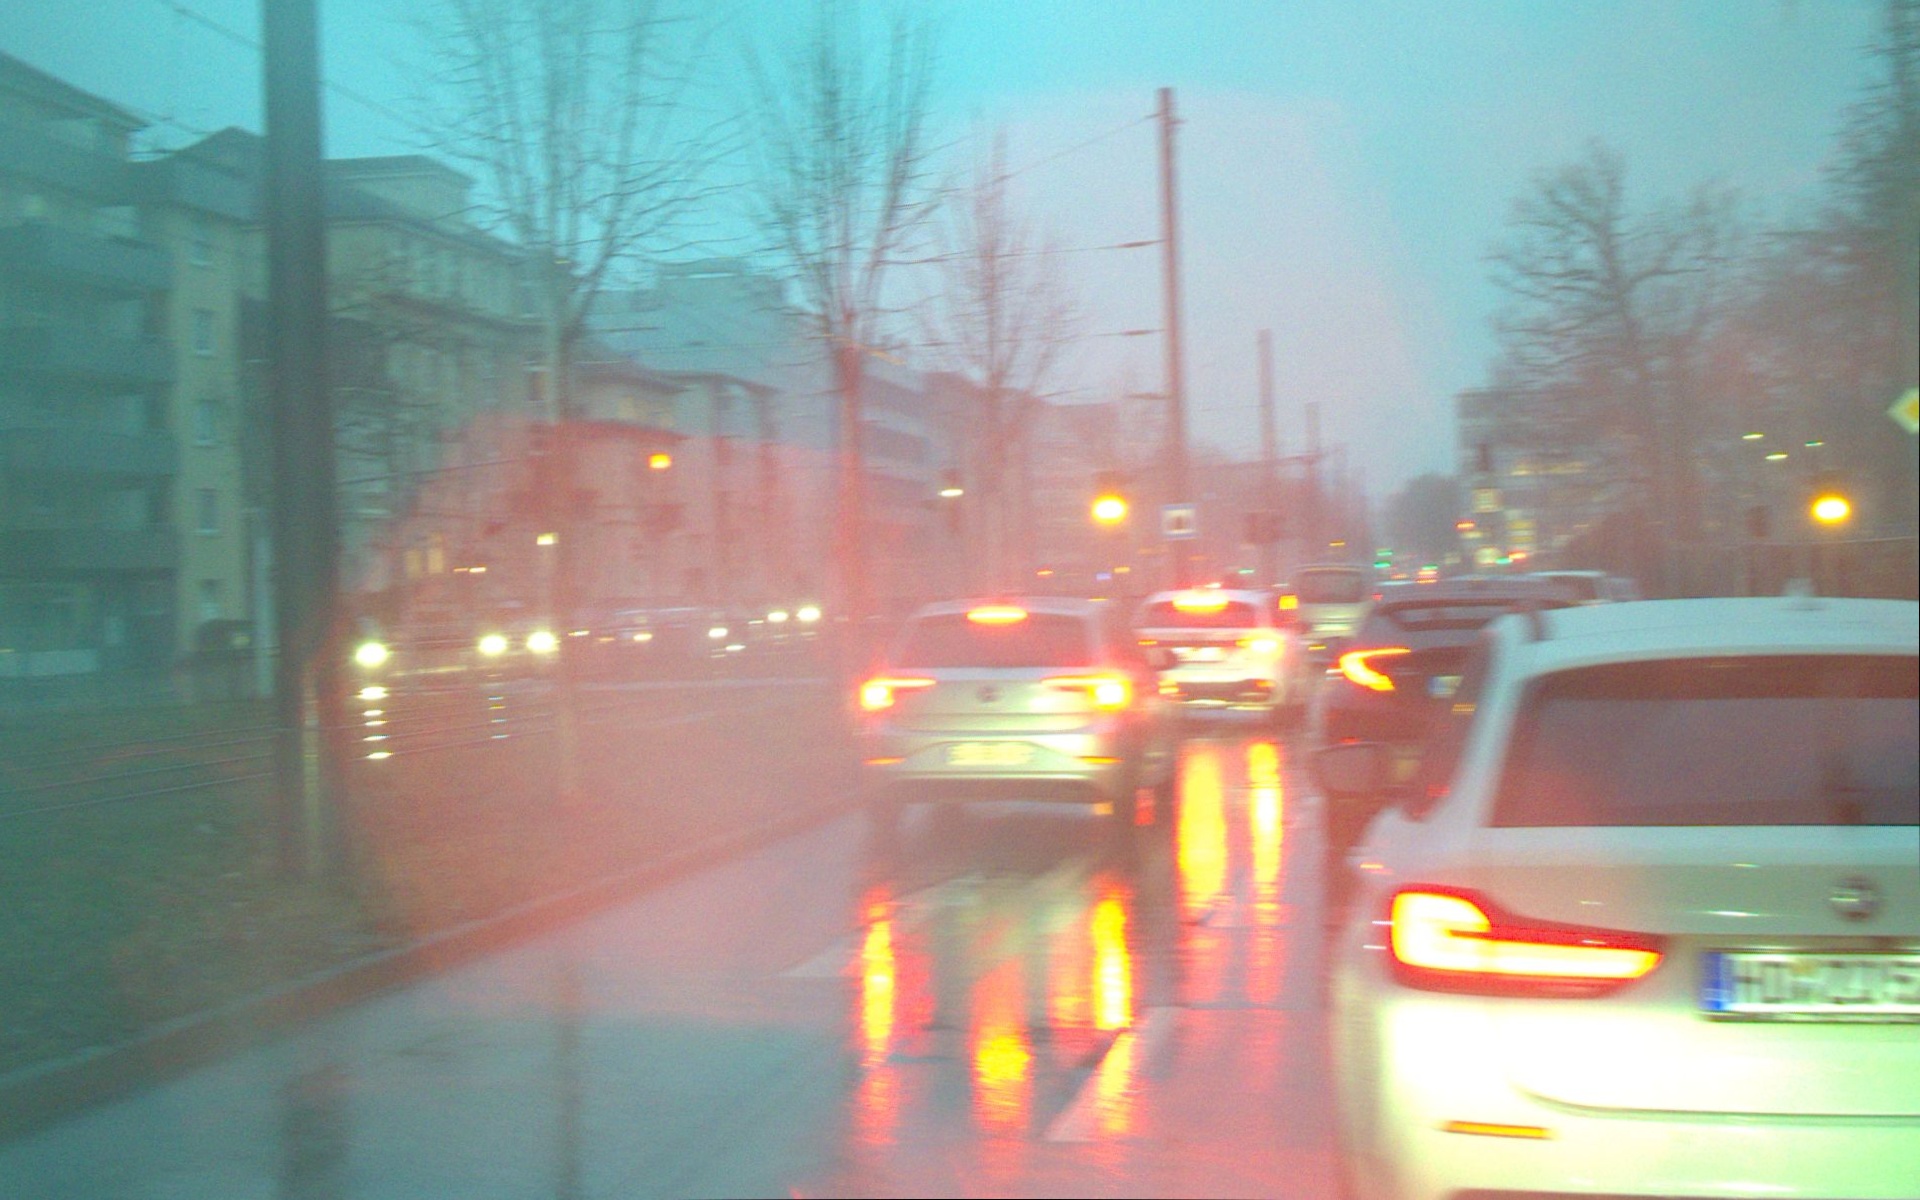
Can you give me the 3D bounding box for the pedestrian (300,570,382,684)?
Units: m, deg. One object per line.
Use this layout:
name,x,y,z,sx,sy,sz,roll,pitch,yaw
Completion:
pedestrian,-11.122,0.489,61.806,0.960,2.007,1.006,-2,0,33

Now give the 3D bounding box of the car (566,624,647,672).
car,-10.111,1.364,98.659,1.691,1.273,4.148,-1,0,2

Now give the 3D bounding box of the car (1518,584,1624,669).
car,10.932,0.456,61.722,1.738,1.415,3.702,-2,0,9

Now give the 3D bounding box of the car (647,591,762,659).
car,-6.176,0.587,83.588,1.994,1.597,3.999,0,0,8

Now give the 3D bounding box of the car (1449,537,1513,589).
car,14.918,-1.057,98.436,1.738,1.415,4.144,-2,0,9

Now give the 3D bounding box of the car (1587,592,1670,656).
car,15.993,0.559,82.378,1.738,1.415,3.702,-2,0,9

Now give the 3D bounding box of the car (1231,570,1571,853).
car,2.688,0.606,20.656,1.800,1.506,3.894,-1,0,9

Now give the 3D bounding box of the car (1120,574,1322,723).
car,2.897,0.477,37.318,1.799,1.461,4.584,-2,0,9

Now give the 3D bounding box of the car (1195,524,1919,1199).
car,1.709,0.638,8.061,1.863,1.550,4.936,-2,0,9

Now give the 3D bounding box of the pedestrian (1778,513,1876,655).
pedestrian,12.488,-0.231,49.537,0.958,2.007,1.008,-2,0,-14

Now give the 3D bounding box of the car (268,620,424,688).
car,-12.540,1.081,70.474,1.860,1.327,4.314,0,0,8

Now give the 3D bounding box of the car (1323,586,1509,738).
car,4.615,0.588,34.459,1.746,1.428,3.730,0,0,9

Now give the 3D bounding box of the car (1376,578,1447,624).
car,13.004,0.038,98.883,1.931,1.284,3.998,0,0,9

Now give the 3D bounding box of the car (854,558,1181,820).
car,0.459,0.509,22.209,1.693,1.528,3.999,0,0,7

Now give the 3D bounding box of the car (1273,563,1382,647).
car,6.704,0.066,62.455,1.738,1.415,4.392,-2,0,9
